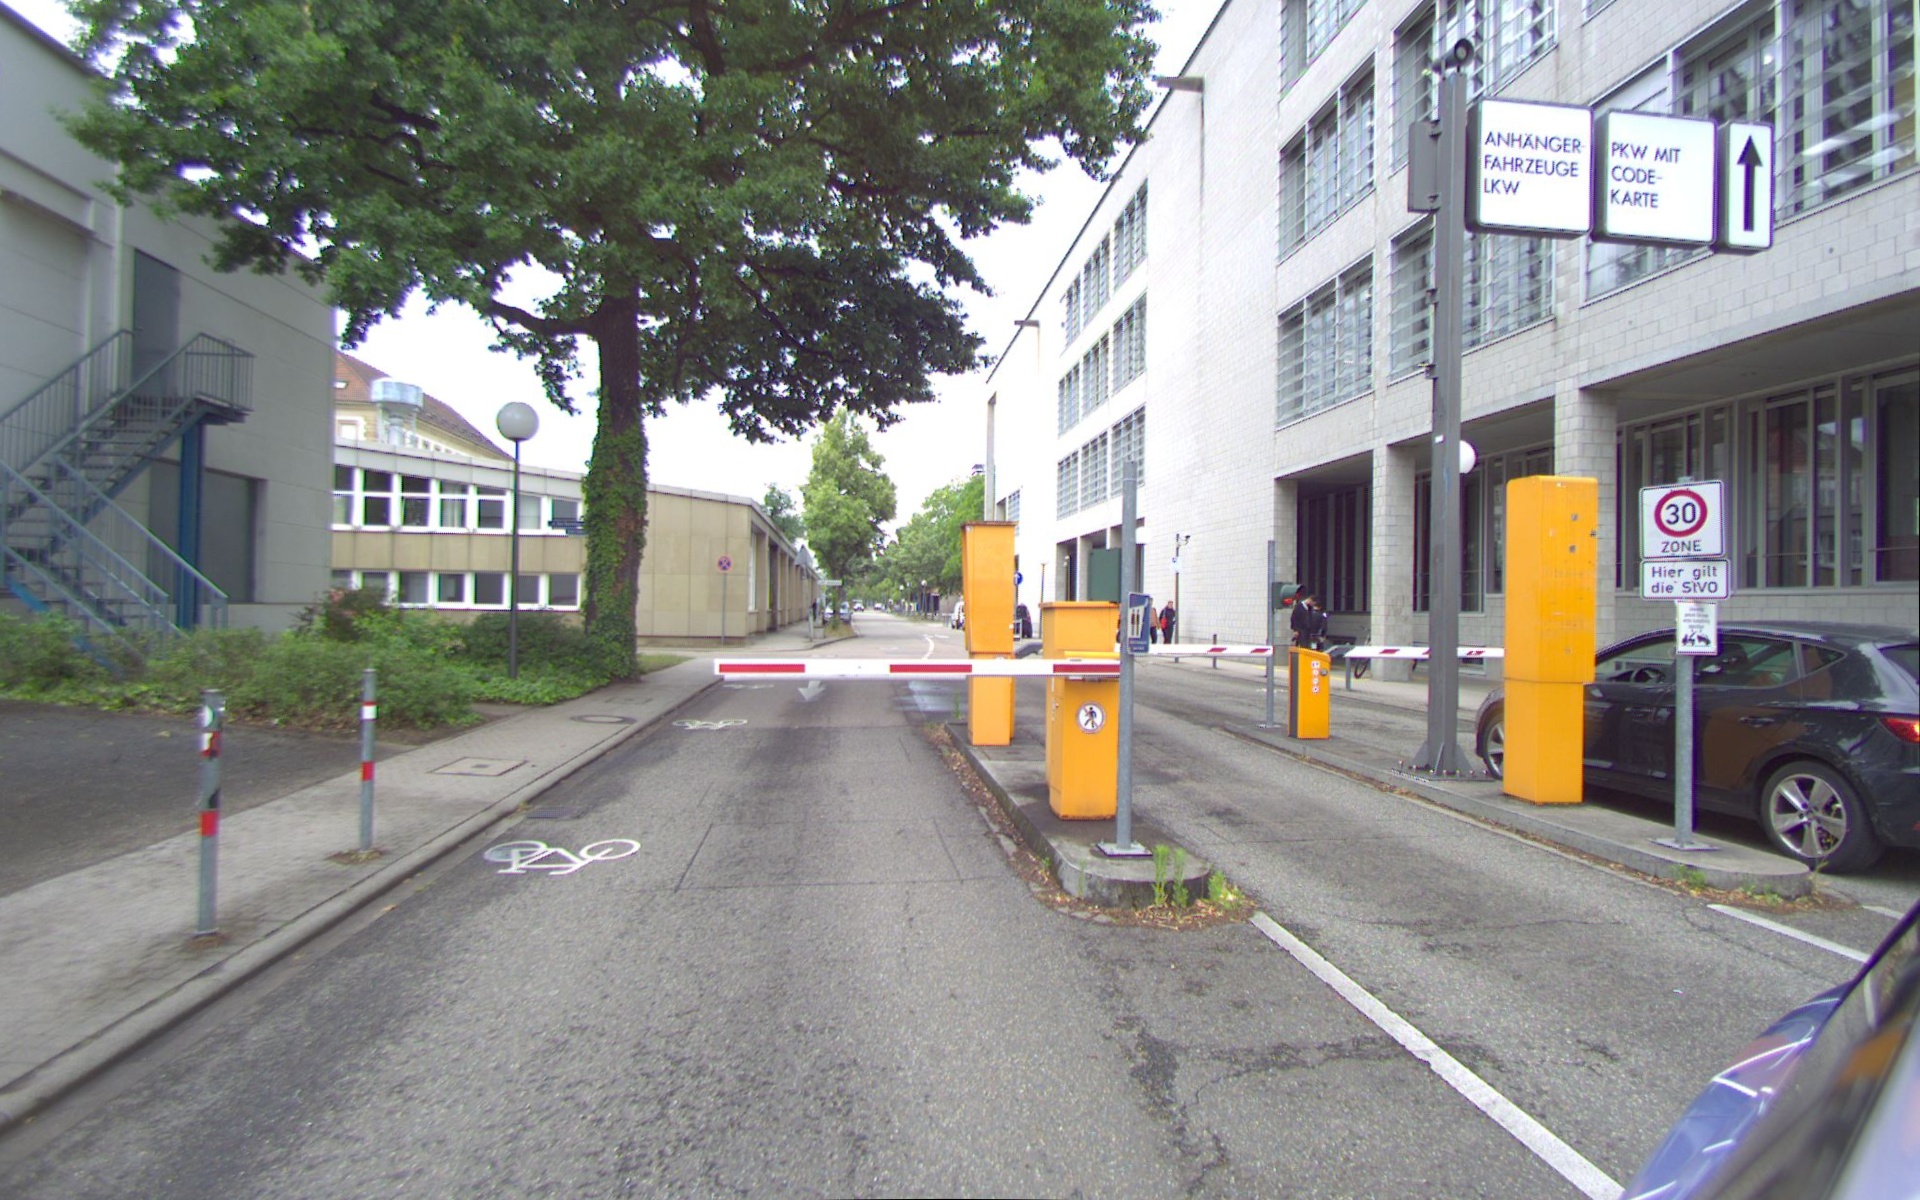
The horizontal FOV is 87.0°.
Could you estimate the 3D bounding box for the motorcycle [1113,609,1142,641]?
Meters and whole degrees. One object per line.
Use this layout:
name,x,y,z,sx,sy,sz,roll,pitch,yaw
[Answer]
motorcycle,6.831,0.999,41.071,0.752,1.162,2.647,2,2,18

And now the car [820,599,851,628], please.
car,-7.461,0.777,60.648,1.740,1.621,4.005,1,0,-7

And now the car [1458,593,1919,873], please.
car,5.576,0.699,7.072,1.752,1.437,4.135,1,0,-7

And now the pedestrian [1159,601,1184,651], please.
pedestrian,6.650,0.798,31.804,0.633,1.546,0.472,1,-1,-4

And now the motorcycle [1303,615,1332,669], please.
motorcycle,8.650,0.984,24.516,0.560,1.162,2.204,2,2,18

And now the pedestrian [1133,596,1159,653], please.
pedestrian,5.790,0.763,31.501,0.685,1.736,0.489,1,-1,-2

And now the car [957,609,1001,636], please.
car,1.065,1.317,59.827,1.959,1.482,4.433,-1,0,-7

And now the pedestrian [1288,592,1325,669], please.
pedestrian,7.944,0.689,23.235,0.601,1.736,0.575,0,-1,-7

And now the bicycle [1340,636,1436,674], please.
bicycle,9.040,1.162,21.404,1.863,0.707,0.494,2,1,-9

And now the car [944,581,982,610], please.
car,0.165,-0.263,65.959,1.959,1.804,4.433,-1,0,-7

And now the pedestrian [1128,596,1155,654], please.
pedestrian,5.557,0.758,30.966,0.685,1.736,0.489,1,-1,-3

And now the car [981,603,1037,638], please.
car,2.334,0.979,49.546,1.959,1.643,4.433,0,-1,-7

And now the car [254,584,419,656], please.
car,-14.753,0.448,24.218,1.831,1.549,4.005,1,0,-7
